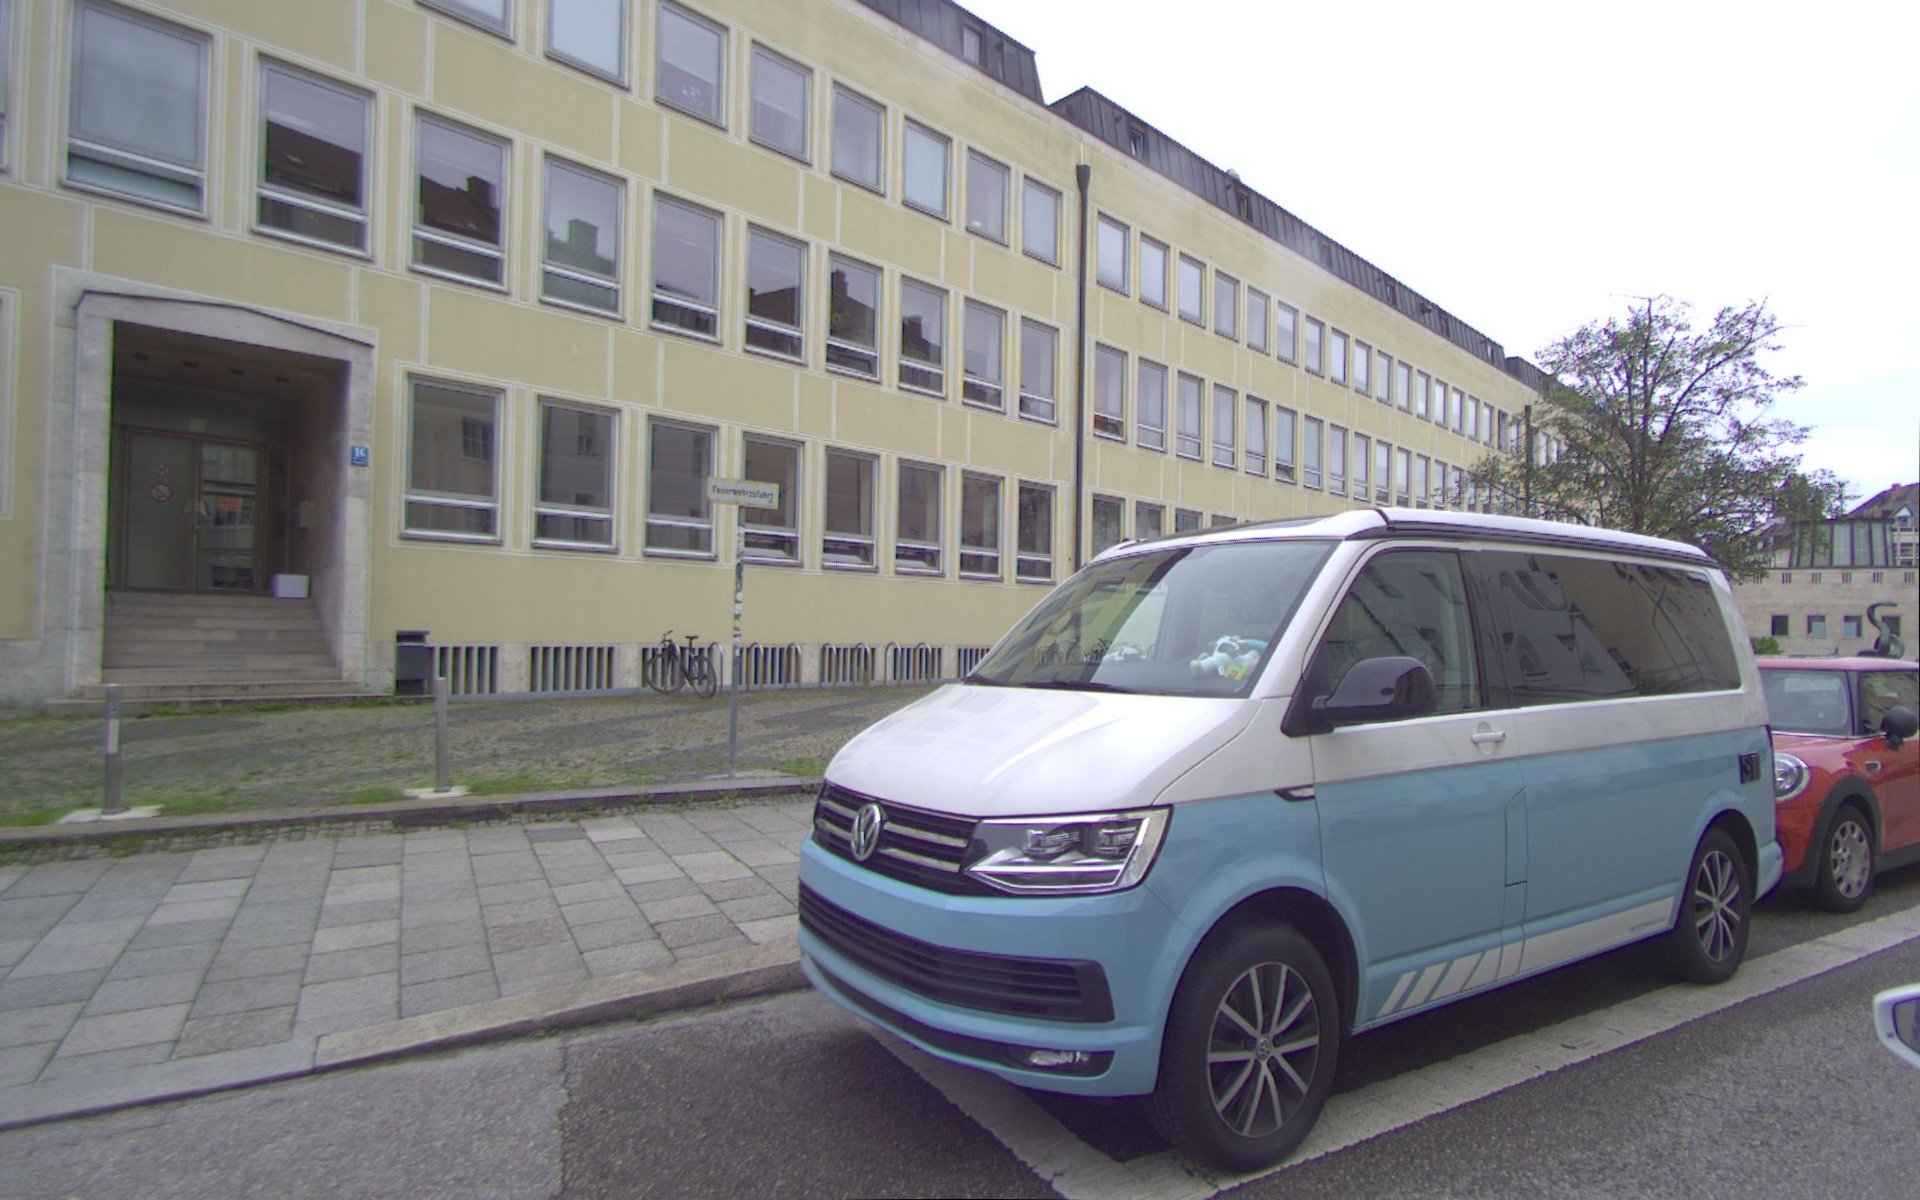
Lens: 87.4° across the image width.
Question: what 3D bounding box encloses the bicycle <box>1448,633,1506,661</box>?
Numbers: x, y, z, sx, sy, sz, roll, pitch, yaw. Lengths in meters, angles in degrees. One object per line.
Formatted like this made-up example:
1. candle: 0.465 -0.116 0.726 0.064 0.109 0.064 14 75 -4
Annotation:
1. bicycle: 20.085 1.823 39.045 0.620 1.028 1.930 2 -1 -40

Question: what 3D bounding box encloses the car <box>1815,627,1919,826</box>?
1. car: 10.119 1.123 9.510 4.398 1.687 1.735 2 -5 -31

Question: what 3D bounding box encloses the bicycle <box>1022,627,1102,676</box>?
1. bicycle: 2.293 1.141 22.750 0.620 1.028 1.931 2 -1 -39

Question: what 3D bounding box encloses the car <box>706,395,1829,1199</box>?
1. car: 1.642 0.657 4.362 4.968 2.005 1.917 2 -3 -33

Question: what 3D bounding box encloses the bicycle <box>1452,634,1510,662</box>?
1. bicycle: 20.576 1.883 39.717 0.621 1.028 1.928 2 -1 -43

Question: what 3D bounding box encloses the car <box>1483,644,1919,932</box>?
1. car: 5.581 1.056 6.905 3.872 1.406 1.735 2 -1 -30

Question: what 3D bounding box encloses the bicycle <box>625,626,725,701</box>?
1. bicycle: -4.437 0.954 15.559 1.926 1.028 0.578 2 0 44
